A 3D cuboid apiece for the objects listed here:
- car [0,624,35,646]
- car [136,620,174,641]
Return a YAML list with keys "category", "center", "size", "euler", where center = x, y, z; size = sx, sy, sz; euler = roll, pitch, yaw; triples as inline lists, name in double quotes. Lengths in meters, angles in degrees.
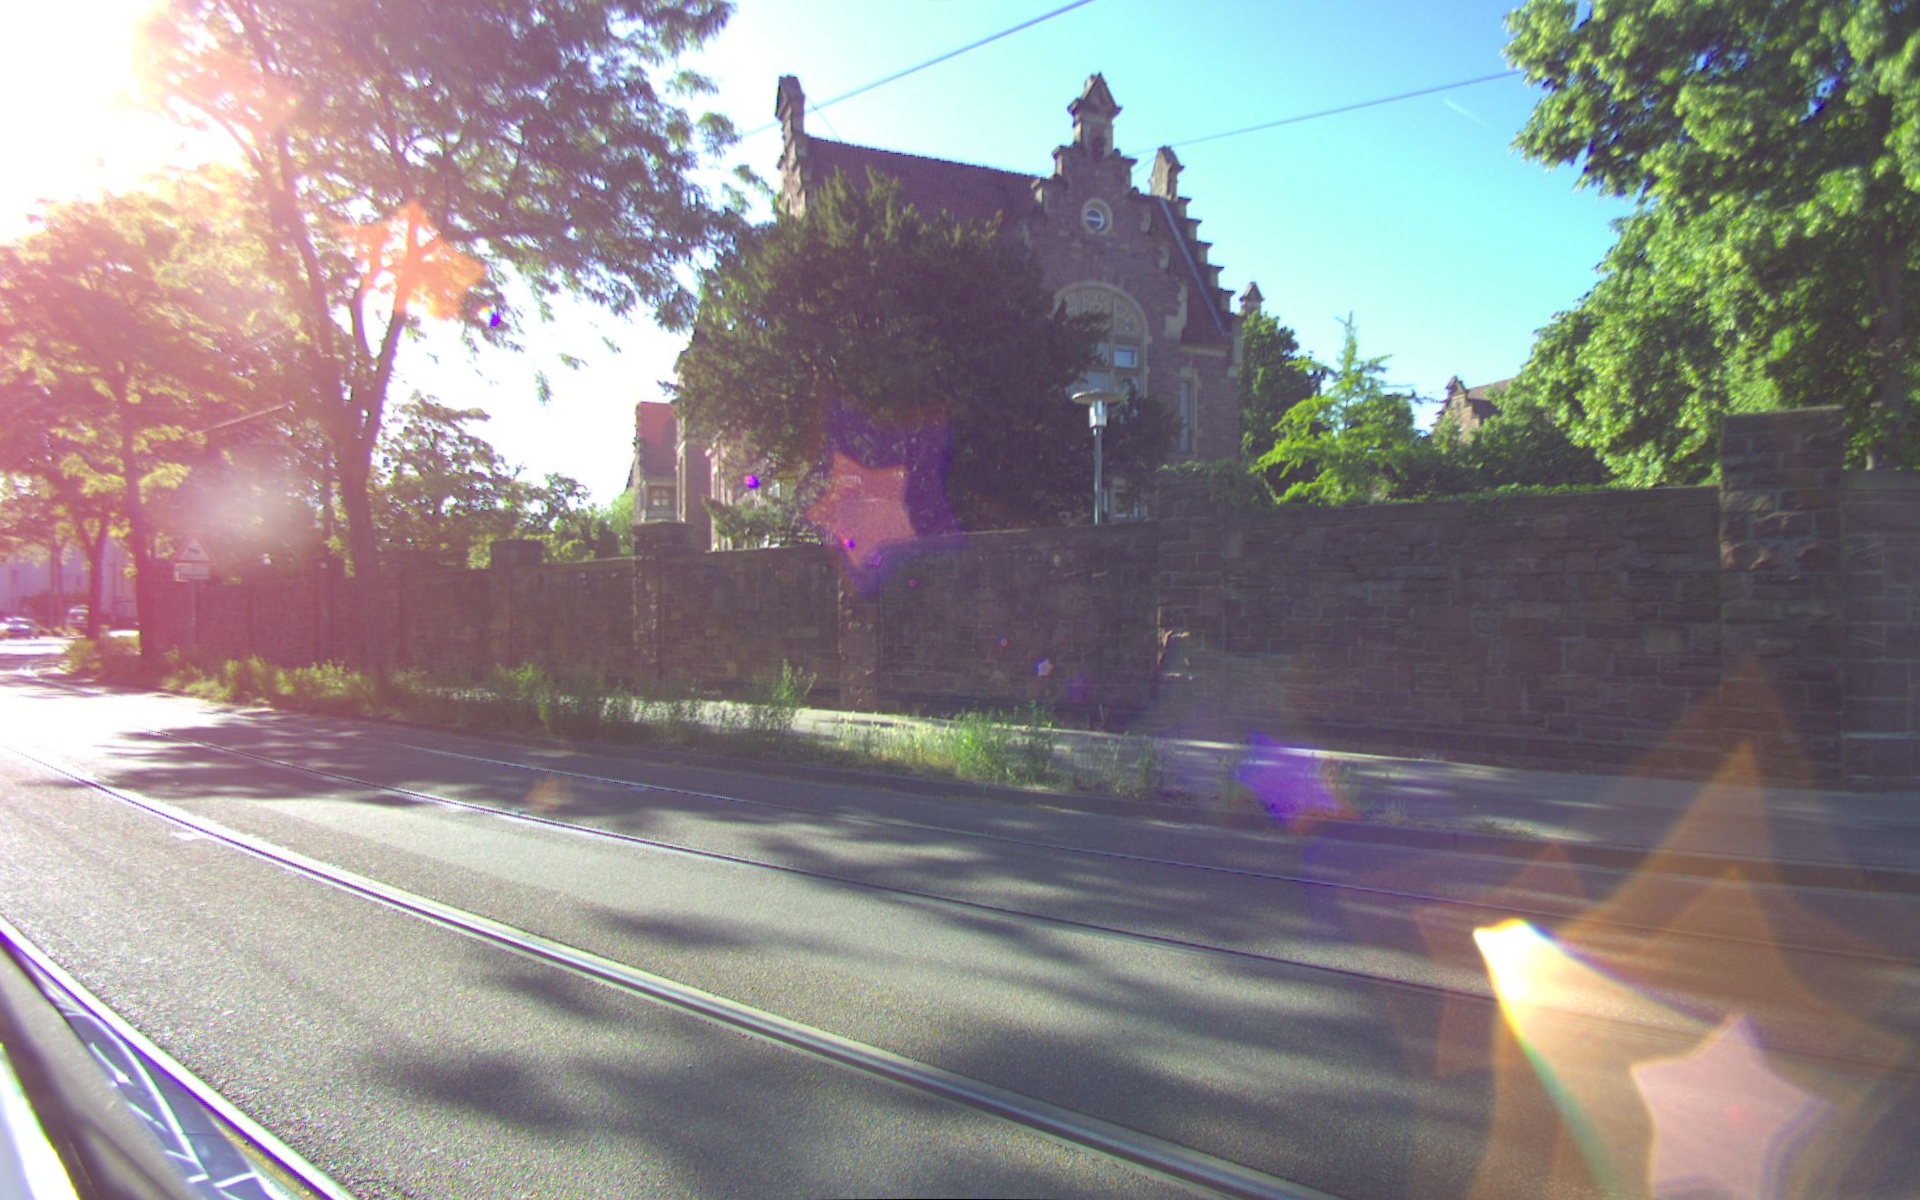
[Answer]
- category: "car"
  center: [-68.900, 2.513, 73.844]
  size: [1.969, 1.560, 4.005]
  euler: [0, -1, -41]
- category: "car"
  center: [-74.956, 2.829, 94.269]
  size: [1.846, 1.830, 4.983]
  euler: [0, -1, -28]
